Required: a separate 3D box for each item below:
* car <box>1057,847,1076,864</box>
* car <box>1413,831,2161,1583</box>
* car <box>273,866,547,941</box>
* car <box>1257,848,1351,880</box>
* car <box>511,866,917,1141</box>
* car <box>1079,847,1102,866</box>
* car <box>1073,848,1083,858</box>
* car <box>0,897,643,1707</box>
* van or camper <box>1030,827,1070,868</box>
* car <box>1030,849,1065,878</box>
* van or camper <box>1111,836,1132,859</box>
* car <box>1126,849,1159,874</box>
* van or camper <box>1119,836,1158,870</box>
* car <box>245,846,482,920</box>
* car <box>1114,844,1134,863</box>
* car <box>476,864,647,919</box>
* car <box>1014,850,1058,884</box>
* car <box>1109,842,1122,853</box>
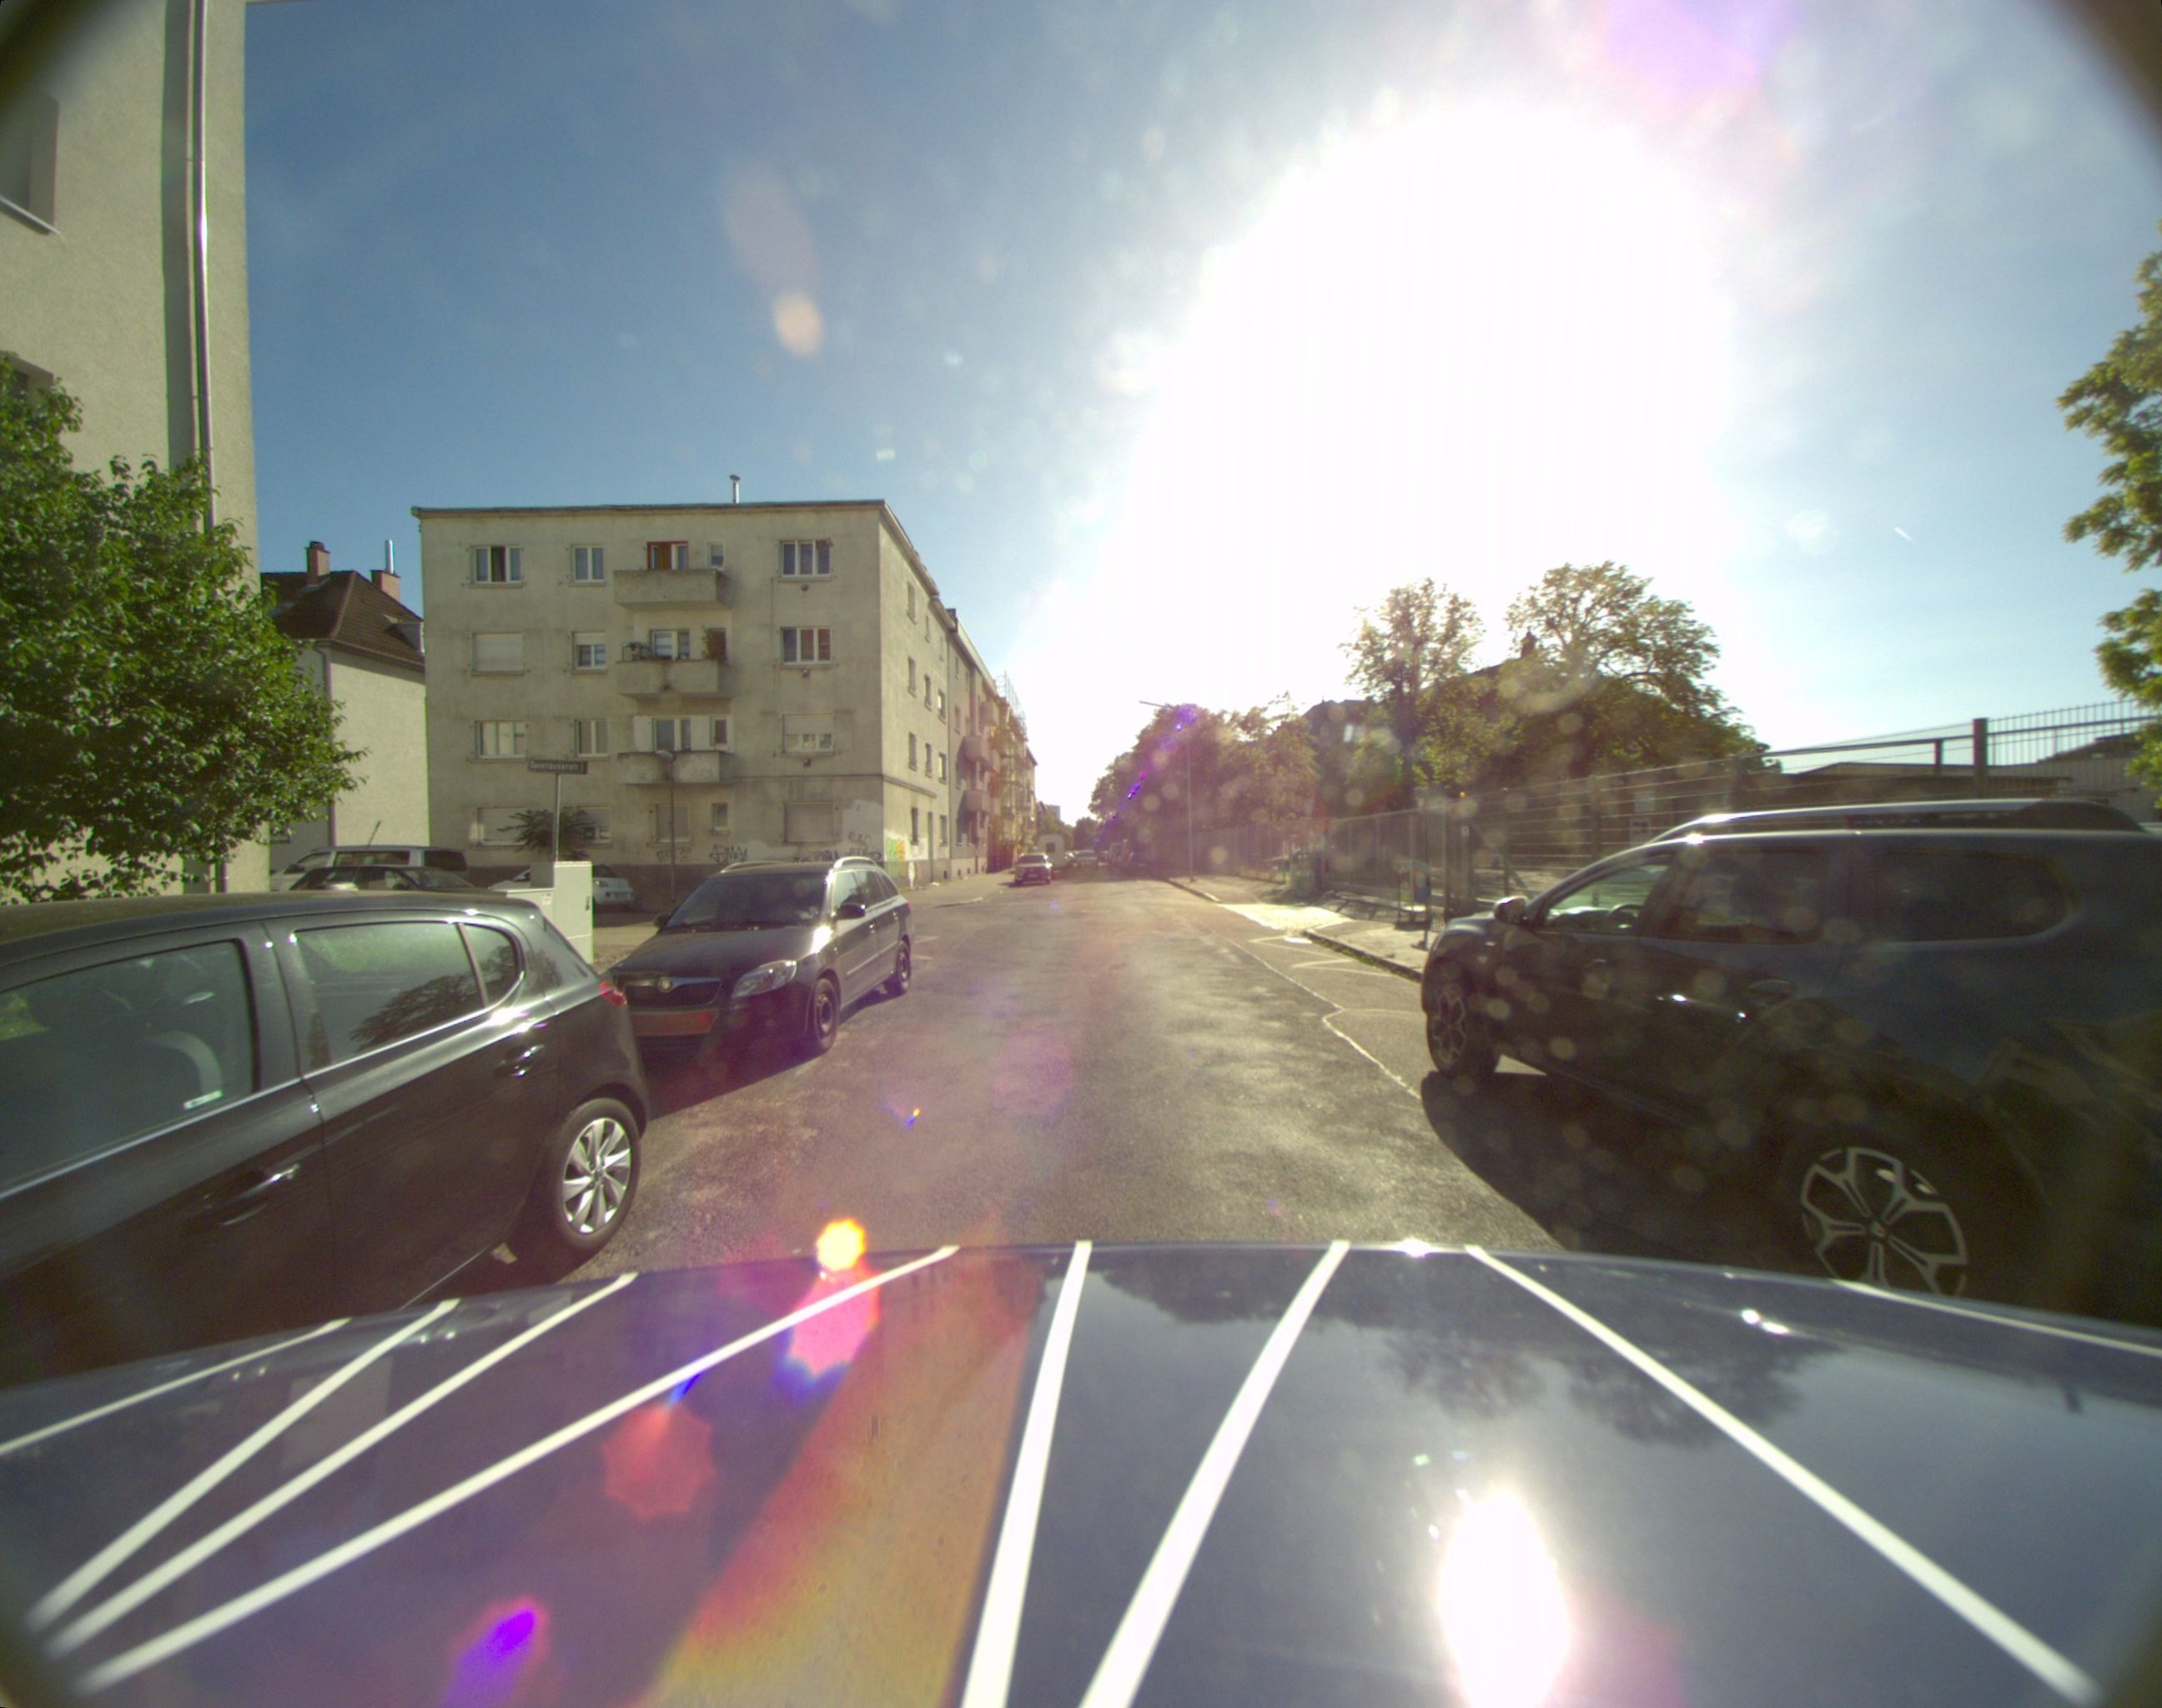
[{"bbox_3d":[-1.345,0.111,71.922,1.651,1.409,3.999,-2,1,-1],"label":"car"},{"bbox_3d":[3.268,0.772,3.364,1.716,1.654,4.164,2,1,0],"label":"car"},{"bbox_3d":[-13.665,0.985,15.655,4.046,1.406,1.804,-1,-1,0],"label":"car"},{"bbox_3d":[10.918,0.483,37.375,3.997,1.412,1.999,-1,1,-1],"label":"car"},{"bbox_3d":[-2.736,0.977,6.813,1.622,1.540,4.084,-1,2,0],"label":"car"},{"bbox_3d":[0.801,0.218,66.040,1.862,1.543,3.999,-1,1,-1],"label":"car"},{"bbox_3d":[-0.507,-0.156,121.104,1.651,1.451,3.999,-1,1,-1],"label":"car"},{"bbox_3d":[-2.696,0.978,1.319,1.609,1.476,3.797,-1,1,0],"label":"car"},{"bbox_3d":[-2.439,-0.528,61.800,2.957,3.161,6.172,0,1,1],"label":"van or camper"},{"bbox_3d":[-1.953,0.534,45.487,1.876,1.544,3.999,-2,1,-1],"label":"car"},{"bbox_3d":[4.501,-0.771,84.951,2.126,2.484,3.999,-1,1,-1],"label":"van or camper"},{"bbox_3d":[3.831,0.460,47.605,1.651,1.409,3.999,-2,1,-1],"label":"car"},{"bbox_3d":[3.967,-0.118,53.489,2.211,2.268,5.308,-2,1,-1],"label":"van or camper"},{"bbox_3d":[-20.275,0.801,21.629,4.852,1.922,1.957,-1,-1,0],"label":"car"},{"bbox_3d":[4.060,-0.060,72.278,1.651,1.674,3.999,-1,1,-1],"label":"car"},{"bbox_3d":[-14.645,1.027,21.551,3.718,1.450,1.692,-1,0,2],"label":"car"},{"bbox_3d":[-2.261,0.643,39.244,2.069,1.544,3.999,-2,1,-1],"label":"car"},{"bbox_3d":[5.646,-1.019,124.913,1.998,1.739,3.999,-1,1,1],"label":"car"}]
